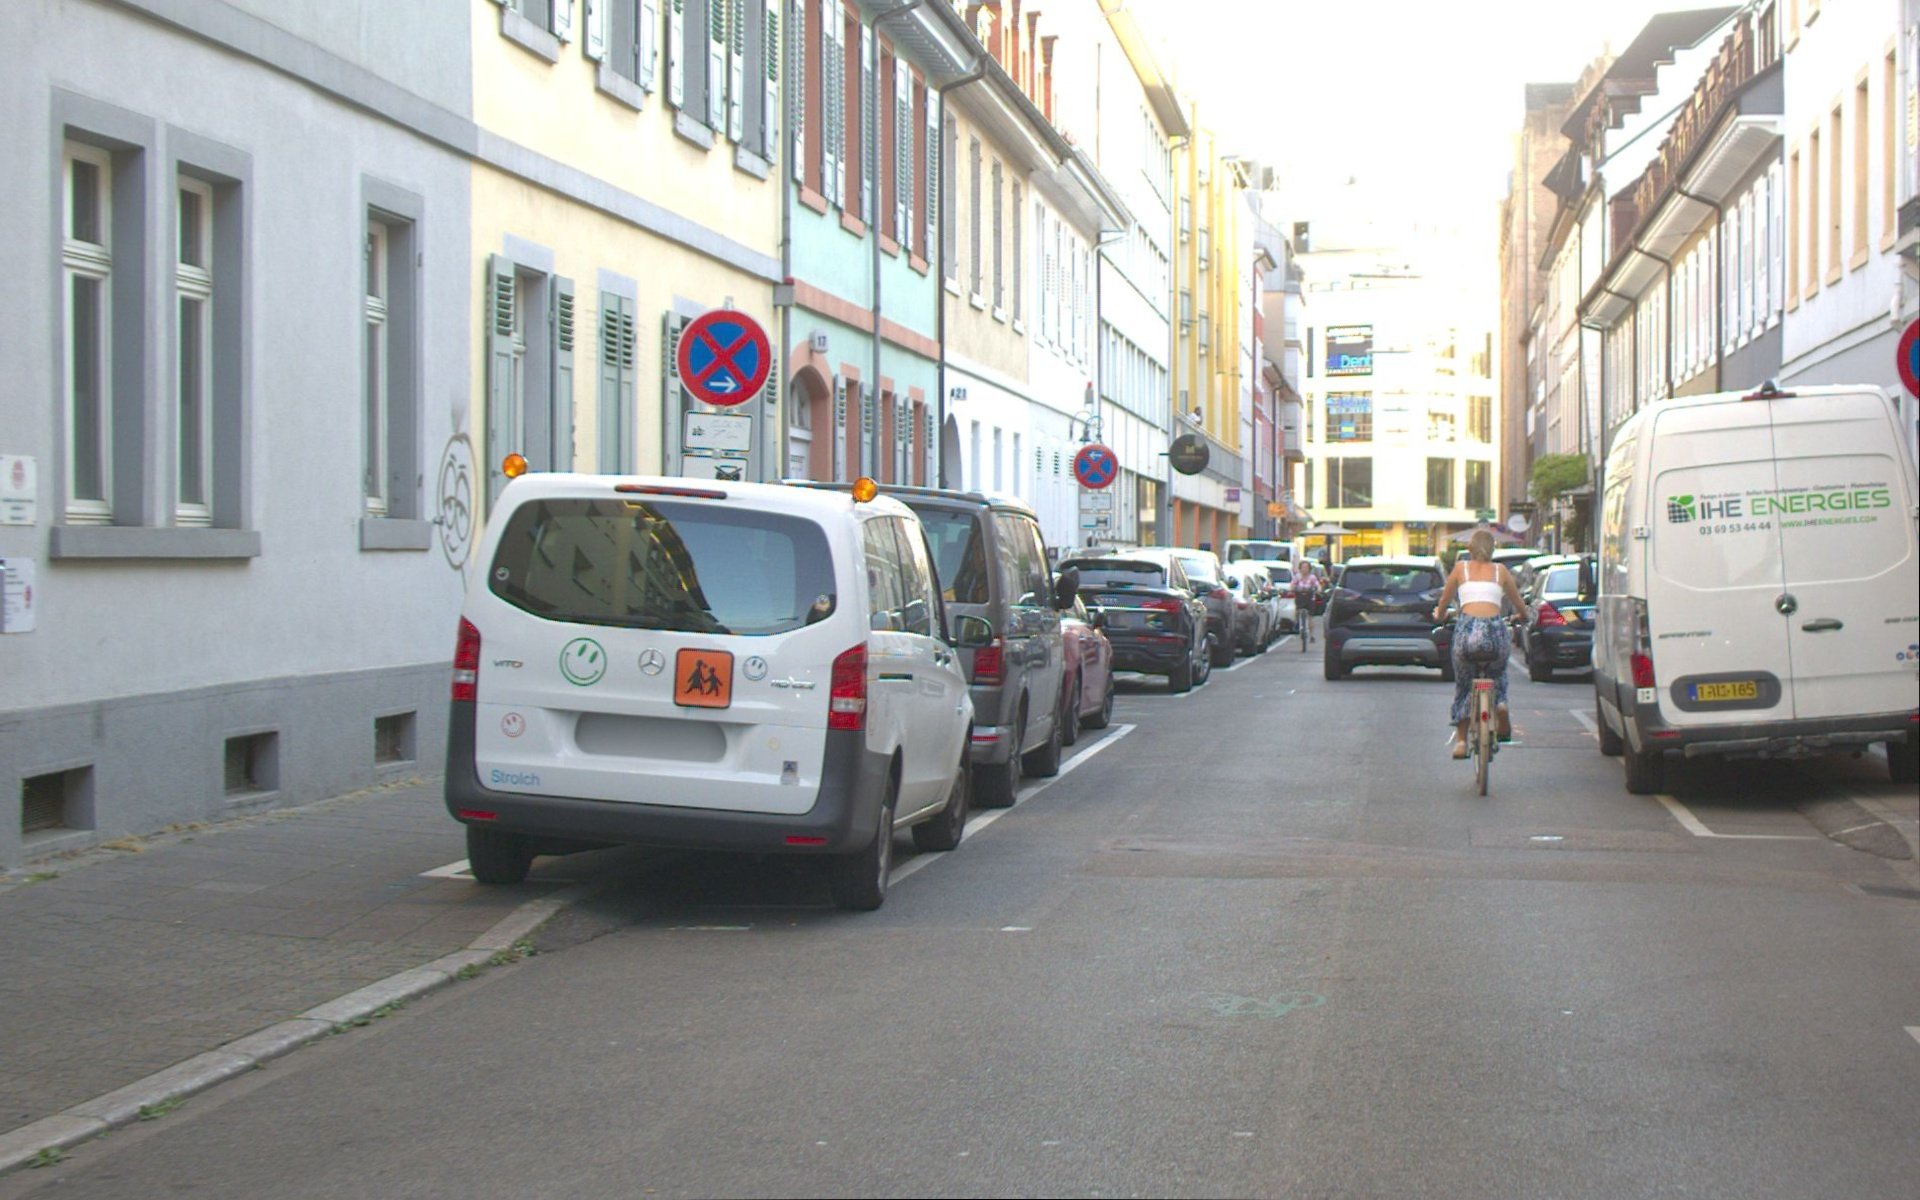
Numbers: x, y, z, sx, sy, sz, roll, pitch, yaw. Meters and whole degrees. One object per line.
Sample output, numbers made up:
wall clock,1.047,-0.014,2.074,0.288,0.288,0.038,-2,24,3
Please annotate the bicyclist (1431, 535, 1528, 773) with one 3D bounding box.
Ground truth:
bicyclist,3.487,0.351,23.094,0.621,1.569,0.683,1,0,9

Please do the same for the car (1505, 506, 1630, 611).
car,9.155,-0.627,52.009,1.677,1.481,3.999,1,1,8

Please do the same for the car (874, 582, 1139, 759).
car,0.482,0.556,29.878,1.765,1.397,4.261,1,1,8

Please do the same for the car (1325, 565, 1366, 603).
car,16.662,-0.696,148.478,1.654,1.555,3.604,1,1,8

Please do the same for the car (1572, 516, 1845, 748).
car,6.883,0.261,32.111,1.941,1.888,5.316,-3,0,7

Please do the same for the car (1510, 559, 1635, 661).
car,10.998,0.147,61.964,1.918,1.732,4.152,1,1,7

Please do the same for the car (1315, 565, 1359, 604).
car,15.553,-0.644,141.763,1.654,1.555,3.604,1,1,8

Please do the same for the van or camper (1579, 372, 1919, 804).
van or camper,5.556,-0.114,24.503,2.051,2.628,7.060,0,1,9

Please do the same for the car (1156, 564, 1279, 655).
car,4.381,0.133,58.013,1.918,1.429,4.293,1,1,6

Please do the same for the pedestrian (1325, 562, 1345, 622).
pedestrian,10.961,-0.249,100.518,0.554,1.746,0.568,1,0,5

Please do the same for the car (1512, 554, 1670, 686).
car,8.172,0.232,44.847,1.820,1.525,5.069,-3,0,9

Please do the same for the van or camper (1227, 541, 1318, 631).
van or camper,7.323,-0.347,80.311,1.845,2.006,4.677,1,1,8

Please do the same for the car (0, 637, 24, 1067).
car,-2.634,0.747,4.047,1.662,1.444,3.520,3,1,7

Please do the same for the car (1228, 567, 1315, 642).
car,6.771,0.071,74.488,1.654,1.555,3.604,1,1,8

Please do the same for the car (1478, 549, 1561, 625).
car,12.016,-0.282,74.000,1.654,1.555,3.604,1,1,8

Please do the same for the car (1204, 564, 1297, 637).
car,5.895,-0.007,69.463,1.654,1.406,3.604,1,1,8

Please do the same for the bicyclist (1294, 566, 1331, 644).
bicyclist,6.195,0.080,60.415,0.606,1.365,0.621,1,0,9

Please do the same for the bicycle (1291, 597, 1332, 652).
bicycle,6.180,0.429,60.372,0.613,0.929,1.886,1,0,9

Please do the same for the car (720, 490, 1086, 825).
car,-0.259,0.318,23.121,1.863,2.007,4.813,0,1,6

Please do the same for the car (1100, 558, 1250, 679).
car,3.280,0.243,51.737,1.998,1.701,4.534,1,1,6

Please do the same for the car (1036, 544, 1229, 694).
car,2.094,0.191,40.604,1.803,1.671,4.488,0,1,9

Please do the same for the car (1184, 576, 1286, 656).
car,5.196,0.270,64.545,1.654,1.406,3.901,1,1,8

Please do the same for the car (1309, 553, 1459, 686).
car,5.532,0.226,44.808,1.820,1.612,3.999,1,1,7

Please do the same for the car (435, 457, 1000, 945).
car,-0.984,0.386,16.788,1.863,2.007,5.105,0,1,6

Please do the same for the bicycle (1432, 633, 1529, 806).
bicycle,3.499,0.778,23.122,0.613,1.078,1.808,1,0,9
